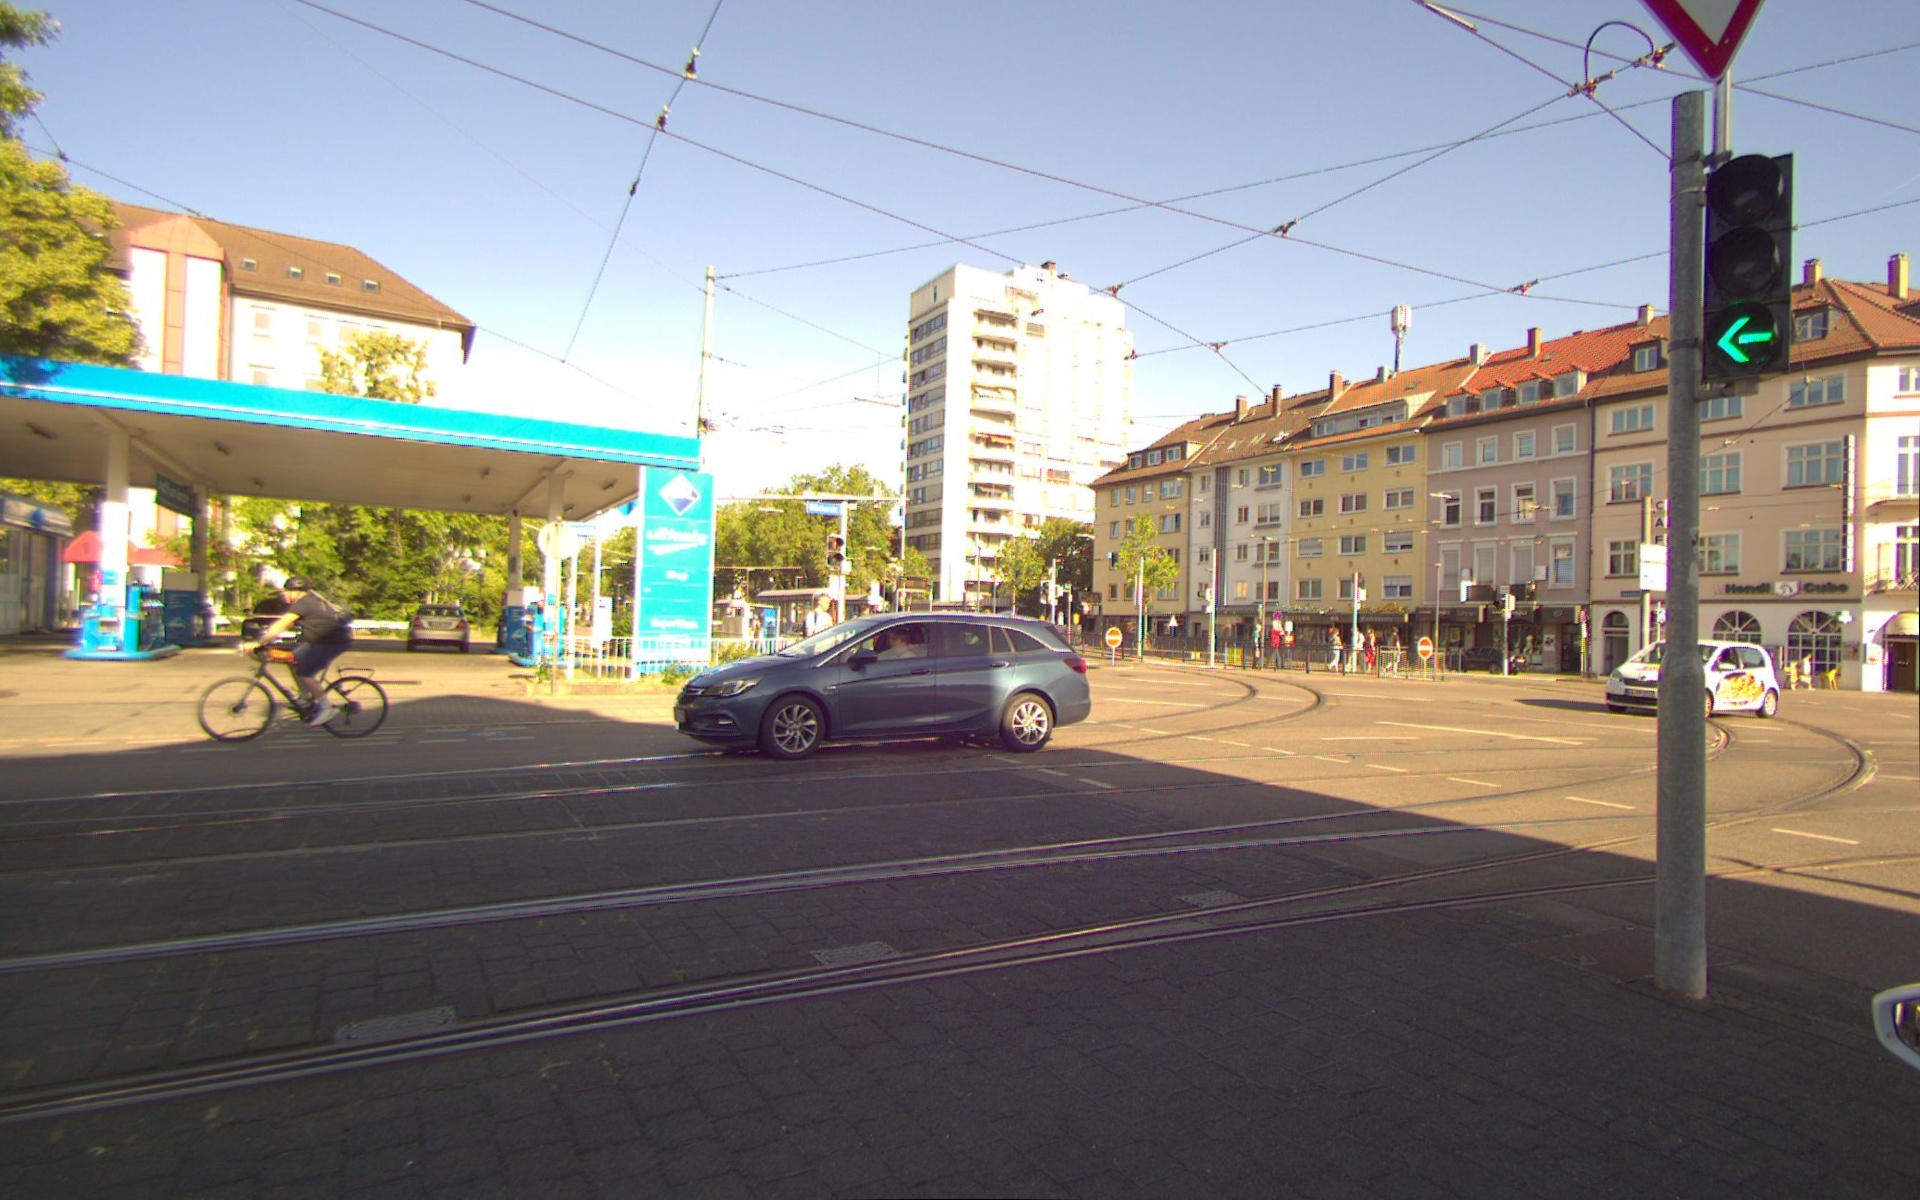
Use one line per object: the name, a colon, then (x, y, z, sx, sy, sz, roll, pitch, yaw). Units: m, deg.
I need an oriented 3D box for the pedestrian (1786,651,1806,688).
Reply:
pedestrian: (35.639, 2.939, 42.813, 0.650, 1.544, 0.692, 0, -2, 39)

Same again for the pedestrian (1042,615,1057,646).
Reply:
pedestrian: (4.640, 1.589, 52.180, 0.585, 1.589, 0.730, 2, -1, -9)

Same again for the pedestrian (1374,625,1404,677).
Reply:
pedestrian: (14.852, 1.767, 34.807, 0.785, 1.756, 0.654, 1, -1, 7)

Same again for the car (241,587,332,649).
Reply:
car: (-18.062, 0.480, 27.085, 1.697, 1.505, 4.185, 2, -2, -30)

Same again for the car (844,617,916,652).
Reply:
car: (-3.780, 1.599, 46.798, 1.697, 1.505, 4.185, 2, -2, -30)

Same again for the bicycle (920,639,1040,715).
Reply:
bicycle: (0.343, 1.262, 16.431, 1.931, 1.181, 0.484, 2, -1, -25)

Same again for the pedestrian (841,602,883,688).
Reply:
pedestrian: (-2.070, 0.937, 21.104, 0.721, 1.751, 0.746, 2, -1, -15)

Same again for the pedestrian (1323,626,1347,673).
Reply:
pedestrian: (14.108, 1.858, 37.826, 0.807, 1.756, 0.789, 1, -1, 20)

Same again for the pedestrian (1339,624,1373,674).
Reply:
pedestrian: (14.233, 1.770, 36.097, 0.815, 1.756, 0.781, 2, -1, -34)

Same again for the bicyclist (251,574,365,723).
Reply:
bicyclist: (-7.239, 0.537, 11.199, 0.975, 1.580, 0.711, 2, -1, -30)

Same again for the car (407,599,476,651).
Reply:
car: (-16.252, 0.774, 31.417, 1.697, 1.505, 4.185, 2, -2, -30)

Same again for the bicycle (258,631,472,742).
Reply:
bicycle: (-6.745, 0.972, 11.492, 2.032, 1.181, 0.483, 2, -2, -31)

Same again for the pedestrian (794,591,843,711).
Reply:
pedestrian: (-2.373, 0.848, 16.785, 0.577, 1.951, 0.626, 2, -1, -30)

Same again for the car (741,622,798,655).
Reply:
car: (-9.718, 1.931, 51.037, 1.721, 1.539, 3.971, 2, -2, -28)

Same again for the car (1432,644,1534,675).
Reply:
car: (27.800, 3.141, 53.551, 1.725, 1.458, 4.614, 3, -2, -32)

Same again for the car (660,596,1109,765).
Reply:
car: (-0.752, 0.814, 10.879, 4.517, 1.517, 1.766, 2, -2, -28)

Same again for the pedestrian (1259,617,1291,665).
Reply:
pedestrian: (11.606, 1.501, 37.014, 0.833, 1.746, 0.824, 2, -1, -8)

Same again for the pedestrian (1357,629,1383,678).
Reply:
pedestrian: (15.296, 1.982, 37.469, 0.888, 1.756, 0.840, 1, -1, 23)

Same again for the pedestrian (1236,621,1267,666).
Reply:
pedestrian: (10.953, 1.626, 37.759, 0.794, 1.652, 0.863, 2, -1, -13)

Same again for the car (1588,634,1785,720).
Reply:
car: (14.127, 1.463, 19.527, 3.538, 1.517, 1.711, 2, -2, -28)

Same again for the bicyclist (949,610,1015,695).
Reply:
bicyclist: (0.357, 0.861, 16.453, 0.885, 1.357, 0.602, 2, -1, -23)

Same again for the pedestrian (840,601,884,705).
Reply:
pedestrian: (-1.771, 0.959, 18.266, 0.727, 1.825, 0.742, 2, -1, -5)
